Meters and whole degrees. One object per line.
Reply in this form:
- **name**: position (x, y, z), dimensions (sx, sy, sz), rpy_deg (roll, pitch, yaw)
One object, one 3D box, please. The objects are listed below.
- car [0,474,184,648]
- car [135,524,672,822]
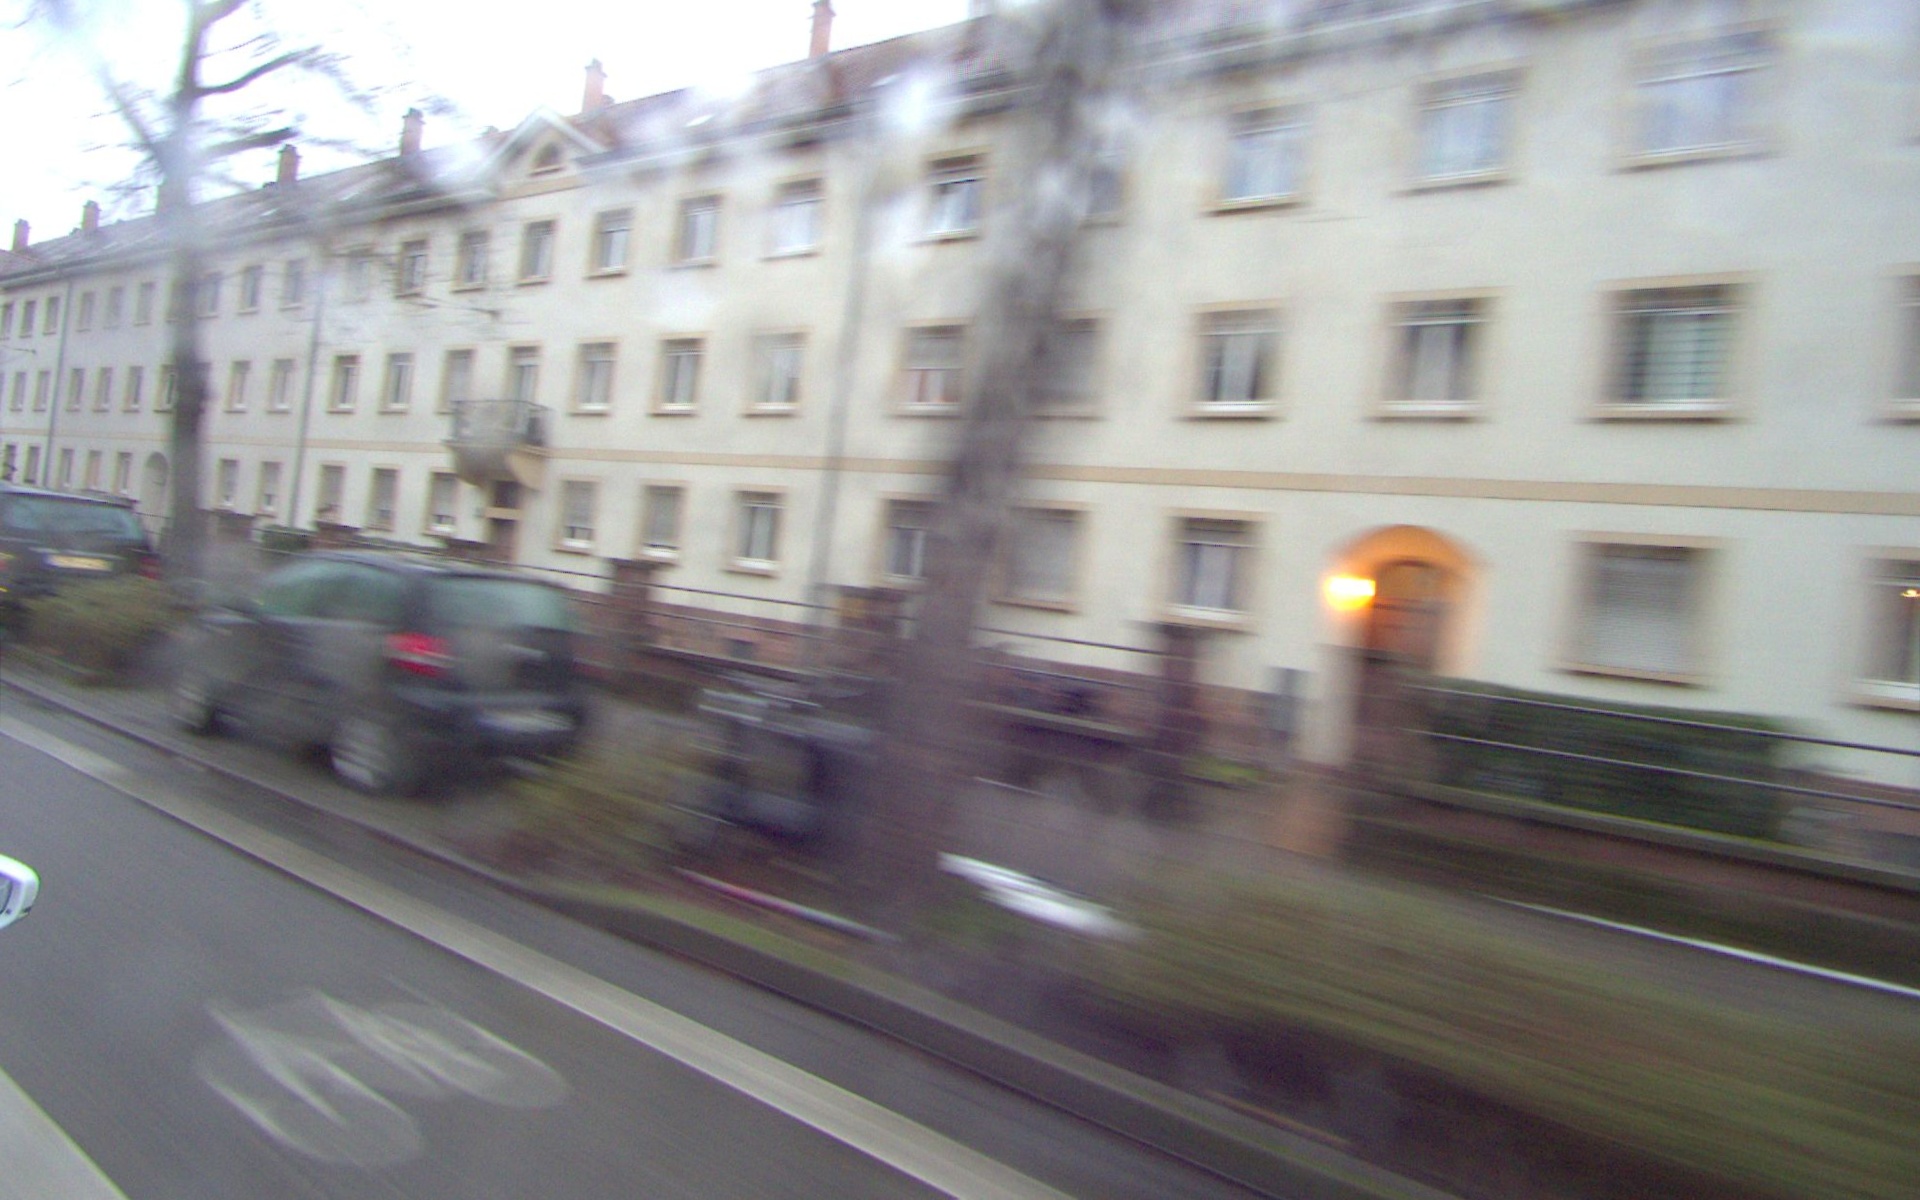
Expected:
- **car**: position (-11.715, -0.623, 12.228), dimensions (4.820, 1.748, 1.908), rpy_deg (7, 0, 31)
- **car**: position (-4.337, 0.426, 7.722), dimensions (3.921, 1.528, 1.788), rpy_deg (7, 0, 31)
